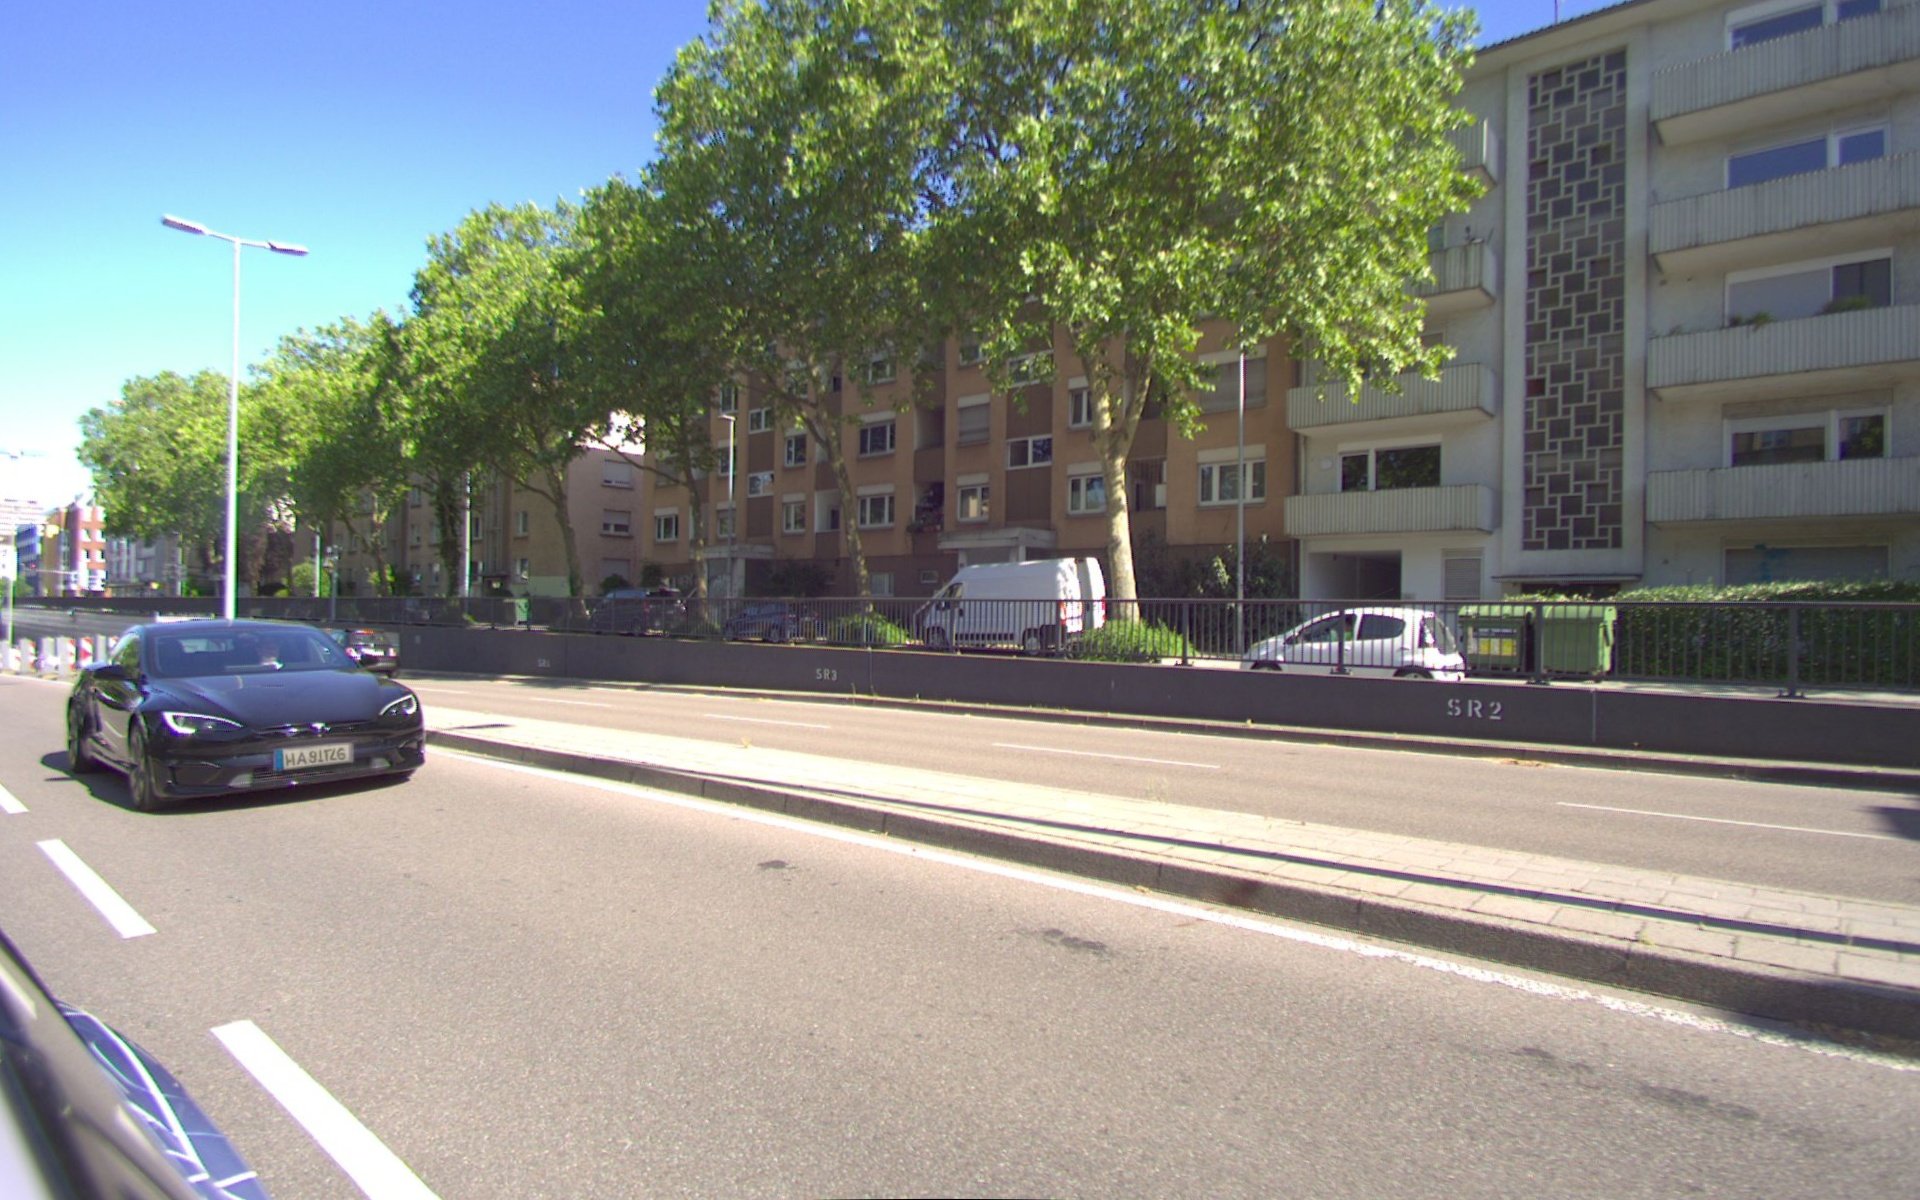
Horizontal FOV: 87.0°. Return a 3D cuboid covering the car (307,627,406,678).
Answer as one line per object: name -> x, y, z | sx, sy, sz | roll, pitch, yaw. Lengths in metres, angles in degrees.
car -> -18.540, 1.608, 31.060 | 3.296, 1.485, 1.641 | -2, -4, 41

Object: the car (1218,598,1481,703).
car -> 6.315, 0.765, 16.617 | 3.688, 1.498, 1.611 | -1, 1, 41

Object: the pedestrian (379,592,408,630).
pedestrian -> -28.250, 0.556, 50.469 | 1.018, 1.814, 0.890 | -2, -4, 37

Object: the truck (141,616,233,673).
truck -> -34.930, 2.030, 45.670 | 5.365, 2.413, 2.255 | -2, -4, 42

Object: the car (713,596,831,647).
car -> -6.472, 0.783, 34.660 | 3.999, 1.592, 1.972 | -2, -4, 42

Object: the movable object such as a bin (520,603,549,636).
movable object such as a bin -> -22.513, 1.044, 53.532 | 1.253, 1.654, 0.873 | -2, -4, 41

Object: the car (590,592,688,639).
car -> -12.781, 0.659, 40.187 | 3.999, 1.766, 1.972 | -2, -3, 42

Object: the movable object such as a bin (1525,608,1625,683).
movable object such as a bin -> 11.849, 0.882, 19.511 | 1.474, 1.371, 0.883 | -2, -4, 43

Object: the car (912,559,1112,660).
car -> 1.329, 0.352, 27.626 | 5.286, 2.465, 2.220 | -2, -4, 43

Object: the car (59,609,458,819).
car -> -6.484, 0.842, 9.137 | 4.623, 1.422, 1.905 | -2, -2, 41

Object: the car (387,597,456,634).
car -> -29.232, 0.863, 54.893 | 3.998, 1.864, 1.973 | -2, -4, 41

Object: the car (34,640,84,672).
car -> -61.937, 3.810, 69.561 | 3.996, 2.029, 1.974 | -1, -1, 40

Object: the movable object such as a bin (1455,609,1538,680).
movable object such as a bin -> 10.857, 0.908, 20.490 | 1.314, 1.373, 0.883 | -2, -4, 41
